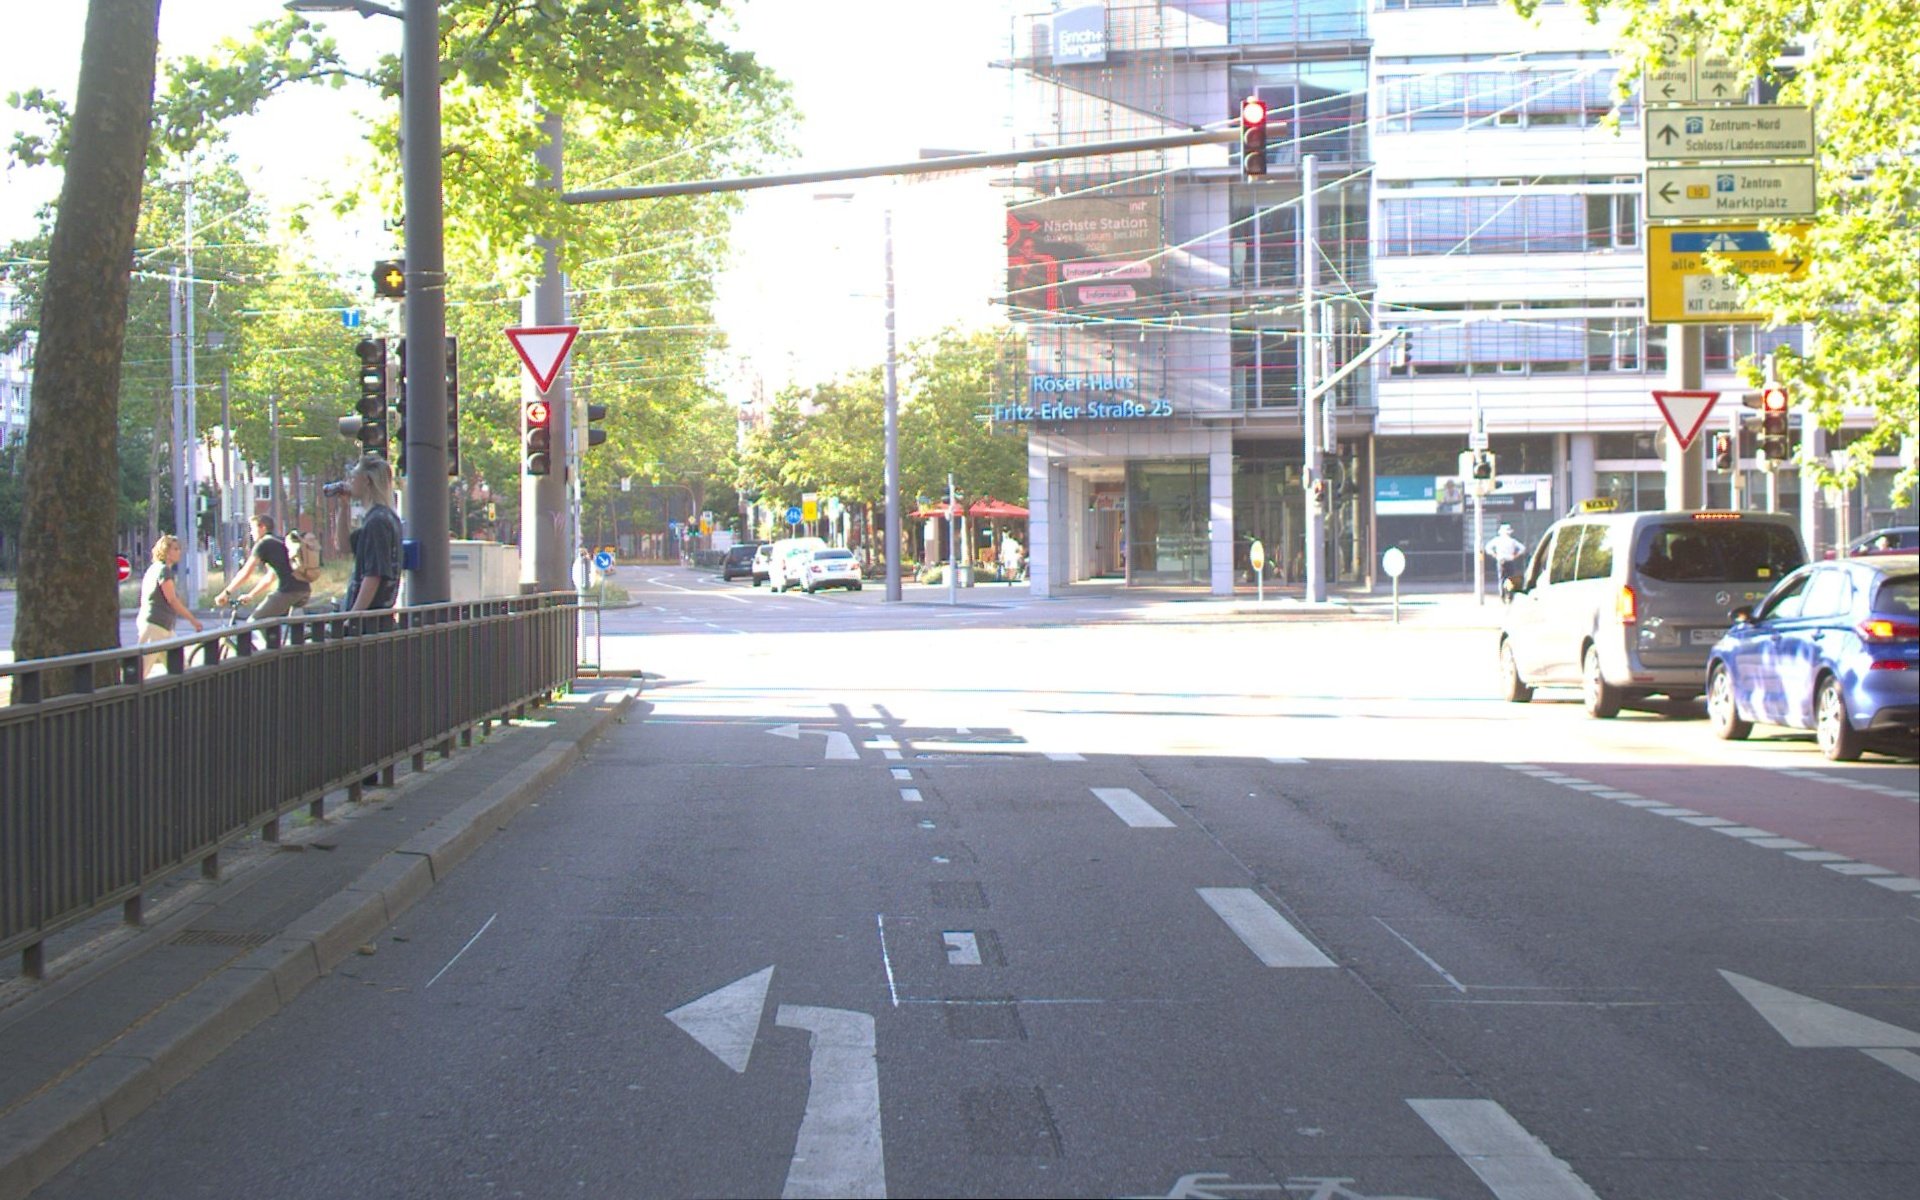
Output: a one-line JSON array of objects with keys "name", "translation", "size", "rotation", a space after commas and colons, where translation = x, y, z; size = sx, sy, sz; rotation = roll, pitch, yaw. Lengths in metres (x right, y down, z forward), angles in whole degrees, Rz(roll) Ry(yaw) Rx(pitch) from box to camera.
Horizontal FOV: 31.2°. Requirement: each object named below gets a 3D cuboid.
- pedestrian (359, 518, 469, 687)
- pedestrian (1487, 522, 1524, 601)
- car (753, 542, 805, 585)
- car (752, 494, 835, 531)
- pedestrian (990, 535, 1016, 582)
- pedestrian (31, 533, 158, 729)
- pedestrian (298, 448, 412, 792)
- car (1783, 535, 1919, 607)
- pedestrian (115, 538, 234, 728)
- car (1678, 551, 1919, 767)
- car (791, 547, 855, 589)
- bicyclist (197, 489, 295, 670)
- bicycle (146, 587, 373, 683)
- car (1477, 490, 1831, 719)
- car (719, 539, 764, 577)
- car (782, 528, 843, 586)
[{"name": "pedestrian", "translation": [-5.605, 0.025, 35.334], "size": [1.073, 1.709, 0.628], "rotation": [0, 0, -7]}, {"name": "pedestrian", "translation": [11.691, -0.824, 73.710], "size": [0.720, 1.676, 0.557], "rotation": [1, 0, 4]}, {"name": "car", "translation": [-7.145, -1.440, 135.428], "size": [1.993, 1.656, 4.001], "rotation": [-1, 1, -4]}, {"name": "car", "translation": [-8.240, -4.350, 170.281], "size": [3.763, 1.744, 1.781], "rotation": [1, 0, 11]}, {"name": "pedestrian", "translation": [1.381, -1.331, 110.067], "size": [0.739, 1.460, 0.537], "rotation": [-1, 1, -5]}, {"name": "pedestrian", "translation": [-8.470, 0.300, 33.677], "size": [1.145, 1.887, 0.833], "rotation": [0, 0, -10]}, {"name": "pedestrian", "translation": [-3.402, 0.108, 19.374], "size": [0.509, 1.894, 0.760], "rotation": [1, 0, -2]}, {"name": "car", "translation": [21.172, -0.686, 78.736], "size": [4.241, 1.596, 1.795], "rotation": [-1, 1, 2]}, {"name": "pedestrian", "translation": [-7.531, 0.316, 33.002], "size": [1.071, 1.800, 0.758], "rotation": [0, 0, -10]}, {"name": "car", "translation": [6.893, 0.376, 25.903], "size": [1.764, 1.459, 4.218], "rotation": [-1, 1, -5]}, {"name": "car", "translation": [-4.519, -1.061, 113.030], "size": [1.993, 1.327, 4.001], "rotation": [-1, 1, -4]}, {"name": "bicyclist", "translation": [-7.178, -0.211, 34.592], "size": [0.849, 1.779, 0.753], "rotation": [-1, 1, -6]}, {"name": "bicycle", "translation": [-7.038, 0.345, 34.616], "size": [2.177, 0.930, 0.668], "rotation": [-1, 1, -6]}, {"name": "car", "translation": [6.427, 0.002, 32.497], "size": [1.993, 1.959, 5.138], "rotation": [1, 1, -3]}, {"name": "car", "translation": [-9.966, -1.925, 156.924], "size": [1.993, 1.656, 4.001], "rotation": [-1, 1, -4]}, {"name": "car", "translation": [-5.154, -1.503, 119.959], "size": [1.993, 1.985, 4.001], "rotation": [-1, 1, -4]}]
